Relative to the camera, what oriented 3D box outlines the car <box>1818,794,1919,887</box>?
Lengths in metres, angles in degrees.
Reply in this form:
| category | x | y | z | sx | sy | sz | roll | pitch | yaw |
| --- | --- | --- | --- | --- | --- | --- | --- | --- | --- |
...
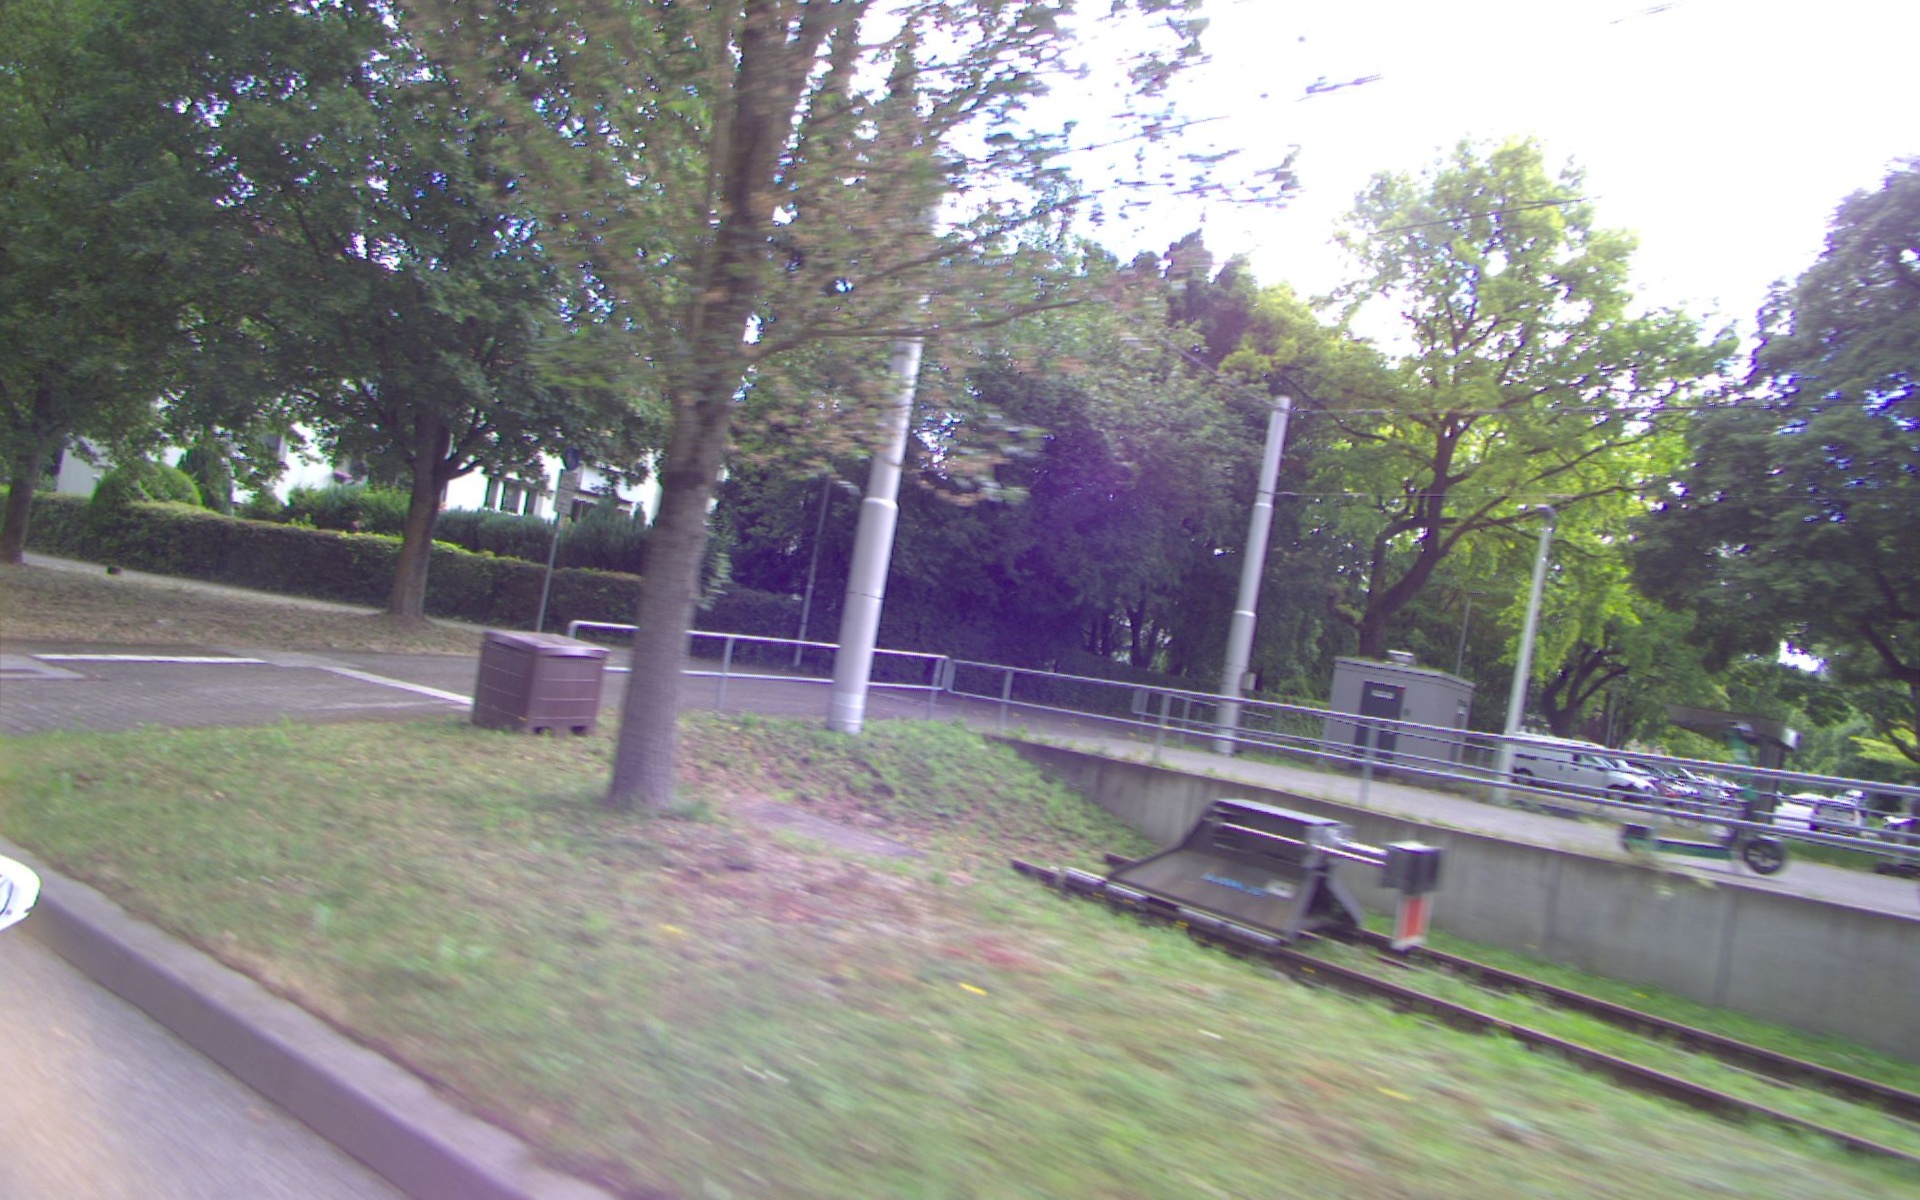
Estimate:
| category | x | y | z | sx | sy | sz | roll | pitch | yaw |
| --- | --- | --- | --- | --- | --- | --- | --- | --- | --- |
| car | 26.616 | 6.853 | 28.010 | 3.946 | 2.037 | 1.896 | 7 | -2 | 43 |

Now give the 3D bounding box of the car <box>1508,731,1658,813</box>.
| category | x | y | z | sx | sy | sz | roll | pitch | yaw |
| --- | --- | --- | --- | --- | --- | --- | --- | --- | --- |
| car | 21.503 | 5.881 | 34.792 | 3.946 | 2.037 | 1.896 | 7 | -2 | 43 |

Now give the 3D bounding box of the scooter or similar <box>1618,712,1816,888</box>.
| category | x | y | z | sx | sy | sz | roll | pitch | yaw |
| --- | --- | --- | --- | --- | --- | --- | --- | --- | --- |
| scooter or similar | 6.489 | 1.684 | 8.689 | 1.234 | 1.267 | 0.431 | 5 | -2 | 31 |

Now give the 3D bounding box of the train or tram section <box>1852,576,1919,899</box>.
| category | x | y | z | sx | sy | sz | roll | pitch | yaw |
| --- | --- | --- | --- | --- | --- | --- | --- | --- | --- |
| train or tram section | 18.508 | 2.592 | 6.154 | 19.250 | 3.626 | 2.813 | 7 | -4 | 43 |

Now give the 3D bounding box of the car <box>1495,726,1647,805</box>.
| category | x | y | z | sx | sy | sz | roll | pitch | yaw |
| --- | --- | --- | --- | --- | --- | --- | --- | --- | --- |
| car | 22.587 | 6.069 | 37.289 | 4.392 | 2.037 | 1.896 | 7 | -2 | 43 |

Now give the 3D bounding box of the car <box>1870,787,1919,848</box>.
| category | x | y | z | sx | sy | sz | roll | pitch | yaw |
| --- | --- | --- | --- | --- | --- | --- | --- | --- | --- |
| car | 38.109 | 8.699 | 39.040 | 3.946 | 2.037 | 1.896 | 7 | -2 | 43 |

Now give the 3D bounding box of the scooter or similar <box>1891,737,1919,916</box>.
| category | x | y | z | sx | sy | sz | roll | pitch | yaw |
| --- | --- | --- | --- | --- | --- | --- | --- | --- | --- |
| scooter or similar | 7.503 | 1.693 | 7.101 | 1.235 | 1.267 | 0.430 | 5 | -2 | 34 |

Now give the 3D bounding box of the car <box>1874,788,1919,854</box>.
| category | x | y | z | sx | sy | sz | roll | pitch | yaw |
| --- | --- | --- | --- | --- | --- | --- | --- | --- | --- |
| car | 35.174 | 8.108 | 35.651 | 3.946 | 2.037 | 1.896 | 7 | -2 | 43 |
